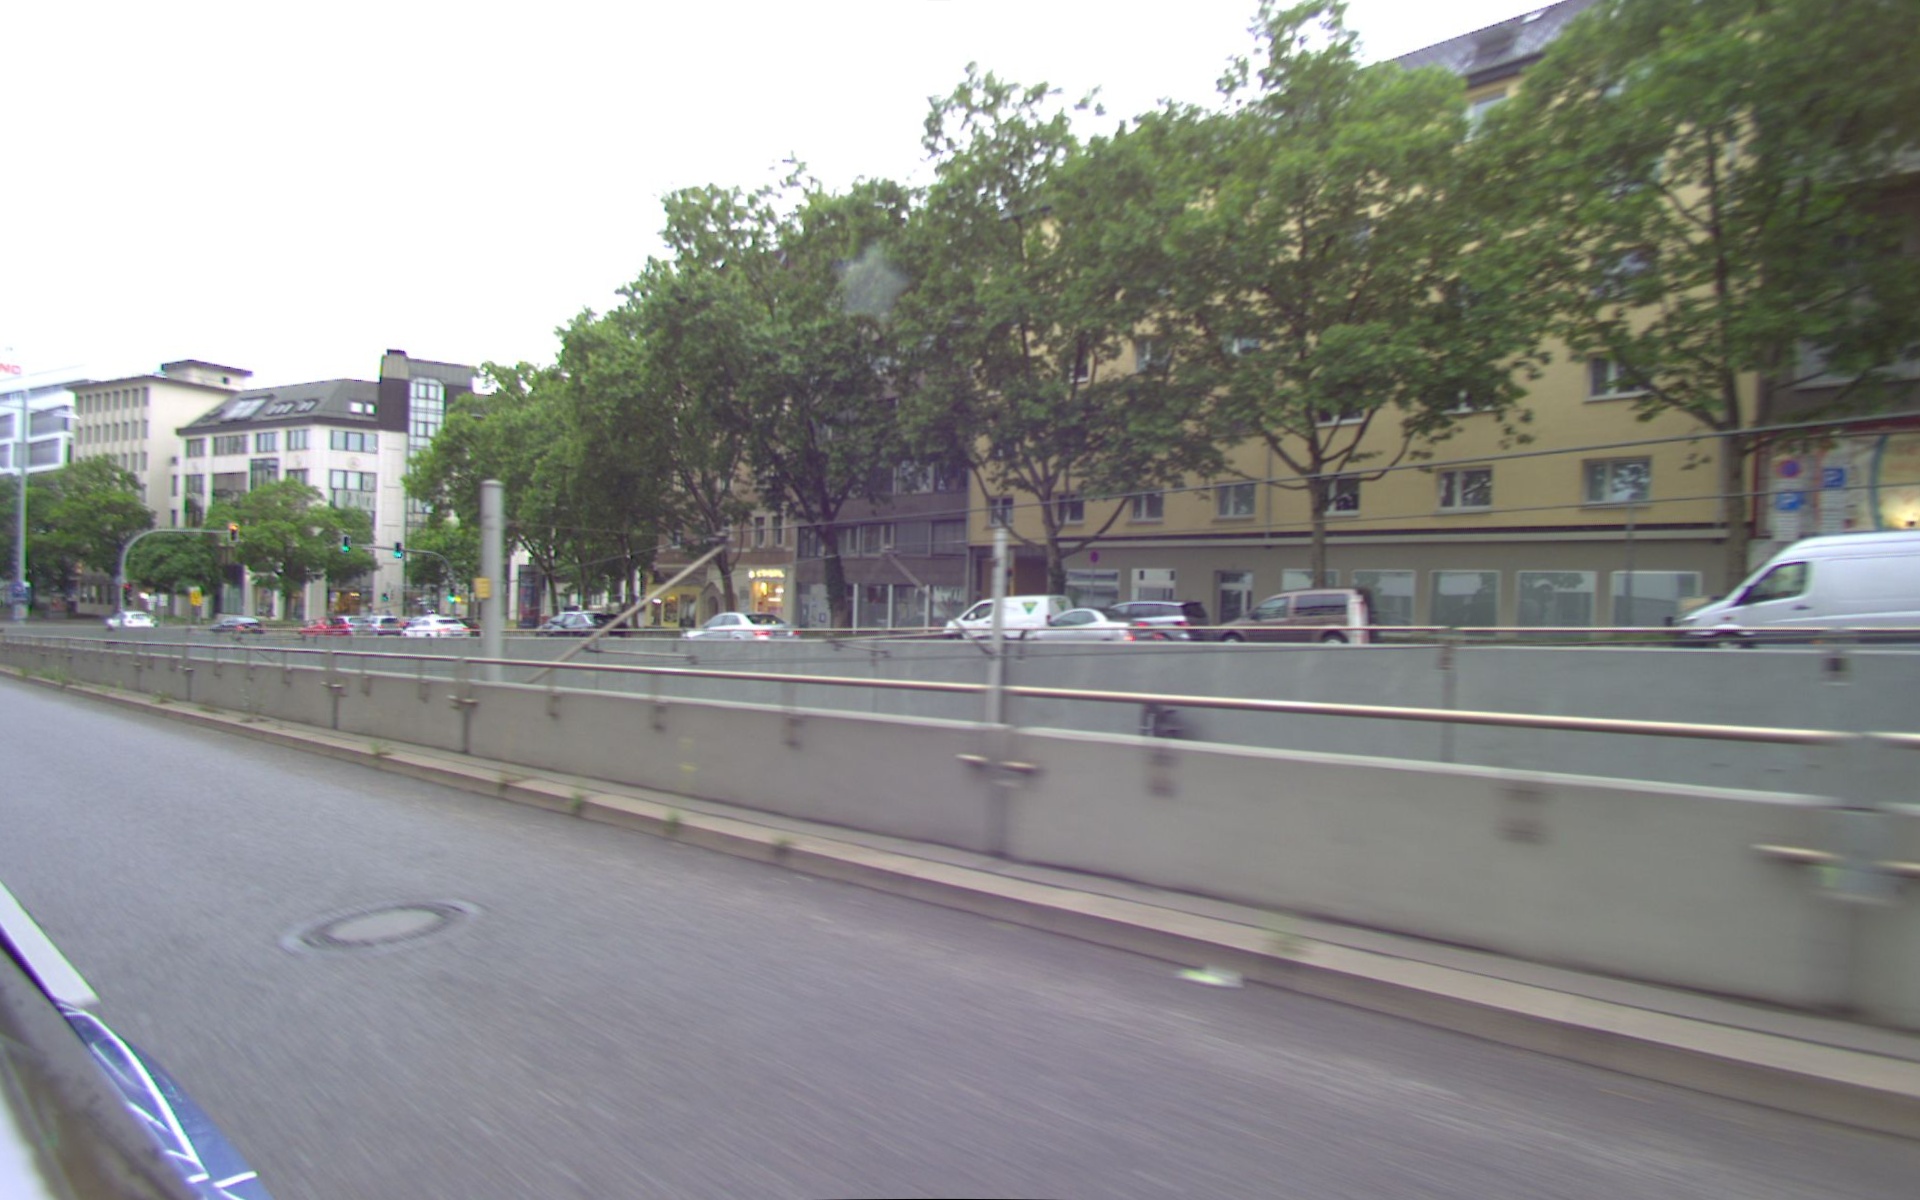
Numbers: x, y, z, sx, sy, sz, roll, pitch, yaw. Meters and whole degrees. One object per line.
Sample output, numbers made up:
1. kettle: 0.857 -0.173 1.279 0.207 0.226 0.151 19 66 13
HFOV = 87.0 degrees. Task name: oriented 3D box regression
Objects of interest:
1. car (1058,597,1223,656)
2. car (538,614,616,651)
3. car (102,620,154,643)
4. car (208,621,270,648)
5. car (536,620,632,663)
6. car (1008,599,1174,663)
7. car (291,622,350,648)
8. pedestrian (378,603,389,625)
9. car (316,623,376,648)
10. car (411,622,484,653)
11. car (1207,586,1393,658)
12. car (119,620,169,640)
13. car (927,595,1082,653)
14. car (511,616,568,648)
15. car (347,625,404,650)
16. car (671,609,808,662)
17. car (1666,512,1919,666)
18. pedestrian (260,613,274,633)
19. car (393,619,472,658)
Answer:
1. car: 5.256 0.771 29.857 4.470 1.595 1.857 -2 -1 41
2. car: -17.768 1.510 46.887 4.016 1.592 1.775 -2 -1 42
3. car: -60.083 2.232 73.083 3.987 1.573 1.780 0 -1 32
4. car: -45.934 2.175 64.441 4.825 1.569 1.778 0 -1 36
5. car: -14.730 1.575 39.534 4.344 1.522 1.775 -1 -1 43
6. car: 3.382 0.799 26.567 4.018 1.522 1.826 -2 -1 44
7. car: -36.848 2.016 58.272 3.872 1.411 1.570 0 -1 36
8. pedestrian: -47.204 1.128 82.861 0.582 1.823 0.675 -1 0 -43
9. car: -38.536 2.200 63.520 3.991 1.522 1.779 0 -1 35
10. car: -28.017 2.026 55.297 3.988 1.521 1.780 -1 0 33
11. car: 8.777 0.575 26.316 4.202 1.742 1.776 -2 -1 40
12. car: -63.752 2.323 79.047 3.985 1.522 1.781 0 -1 31
13. car: 1.400 0.799 33.247 4.894 1.778 1.859 -2 -1 38
14. car: -22.137 1.668 53.206 1.674 1.562 4.070 -1 -1 -38
15. car: -38.953 2.459 67.463 3.932 1.521 1.779 -1 0 34
16. car: -7.073 1.111 32.146 4.821 1.522 1.826 -2 -1 43
17. car: 17.397 -0.192 18.637 6.930 2.682 2.426 -2 -1 42
18. pedestrian: -61.562 2.036 89.916 0.614 1.798 0.826 0 0 33
19. car: -25.908 1.831 49.649 4.727 1.783 1.776 0 -1 40
